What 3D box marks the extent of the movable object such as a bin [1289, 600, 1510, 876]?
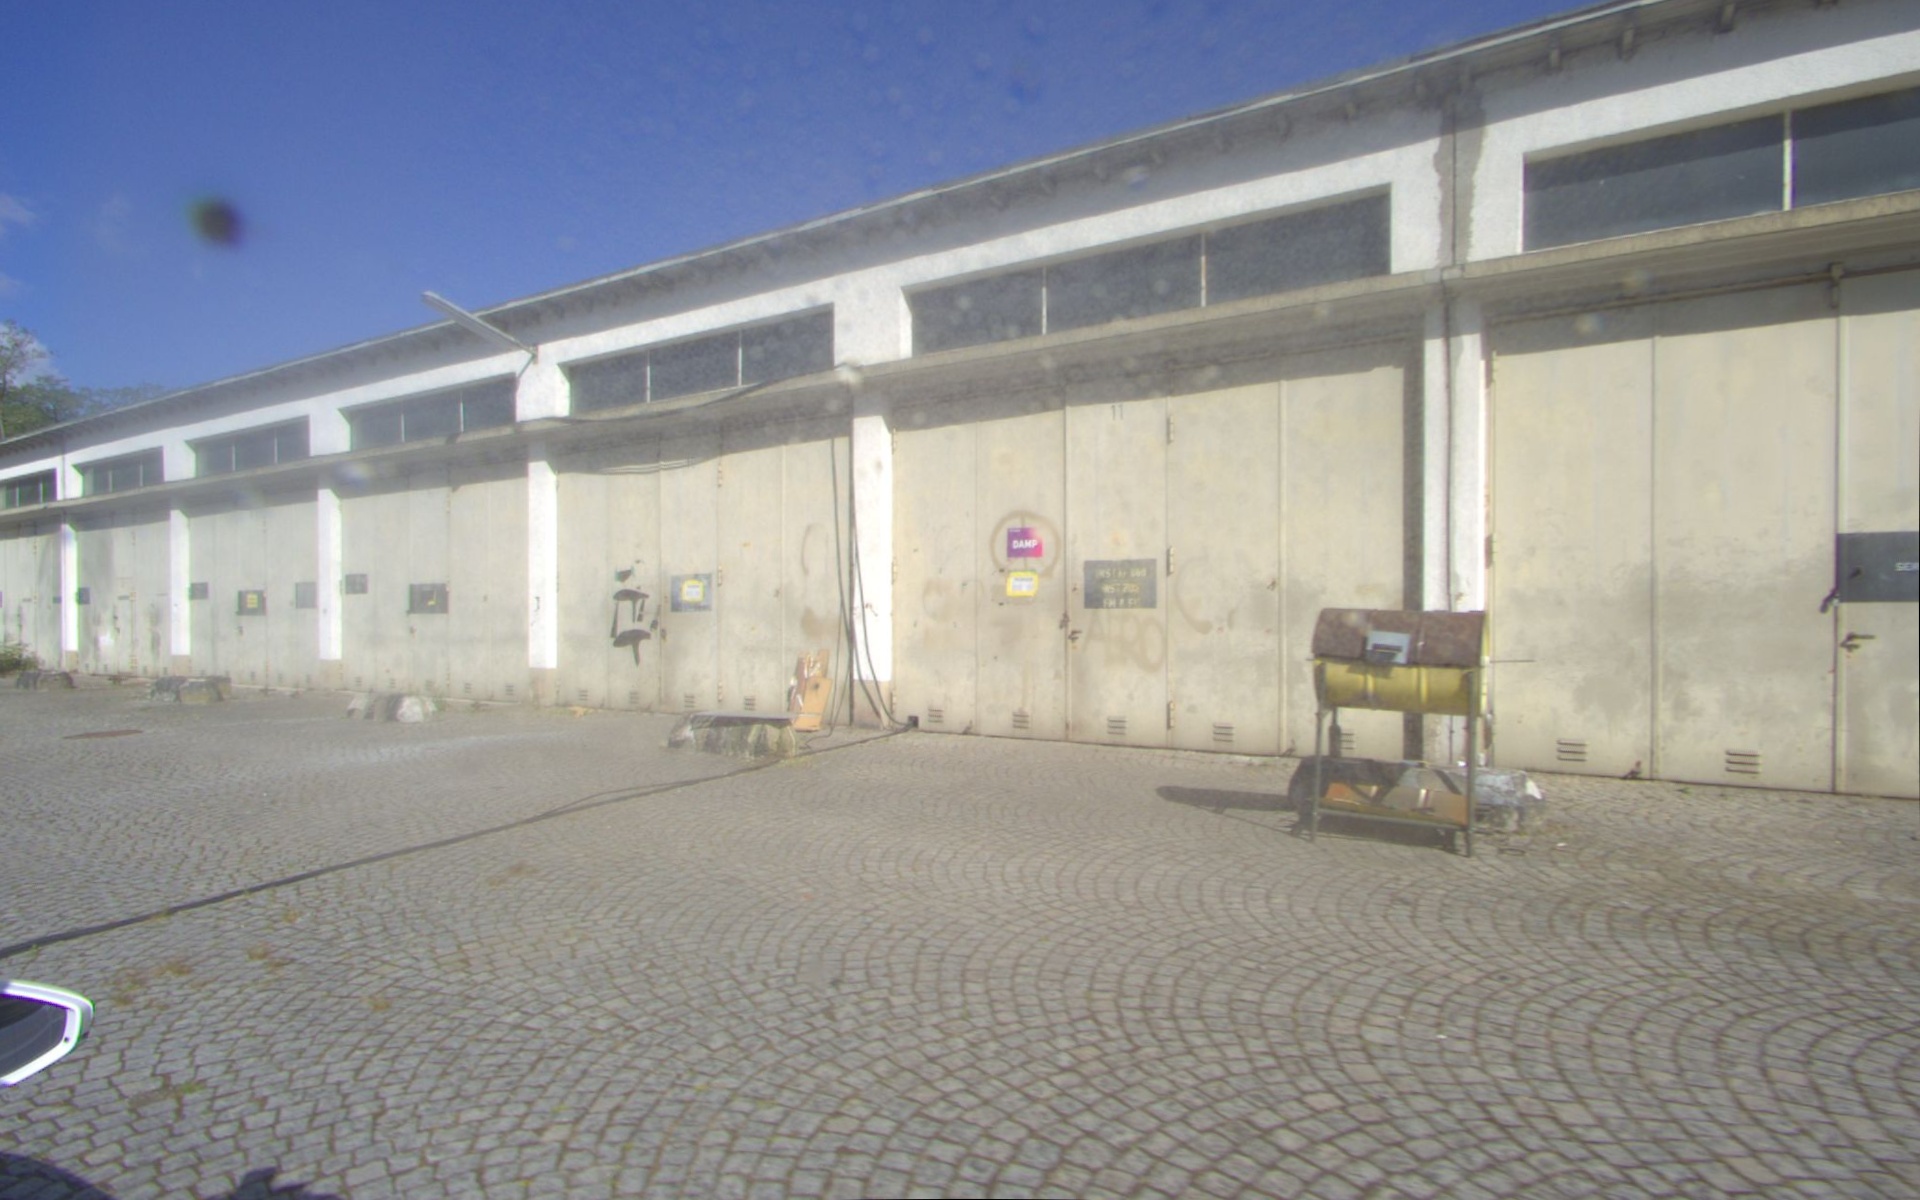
[{"bbox_3d":[2.563,0.722,5.812,1.085,1.419,0.874,0,-1,31],"label":"movable object such as a bin"}]
